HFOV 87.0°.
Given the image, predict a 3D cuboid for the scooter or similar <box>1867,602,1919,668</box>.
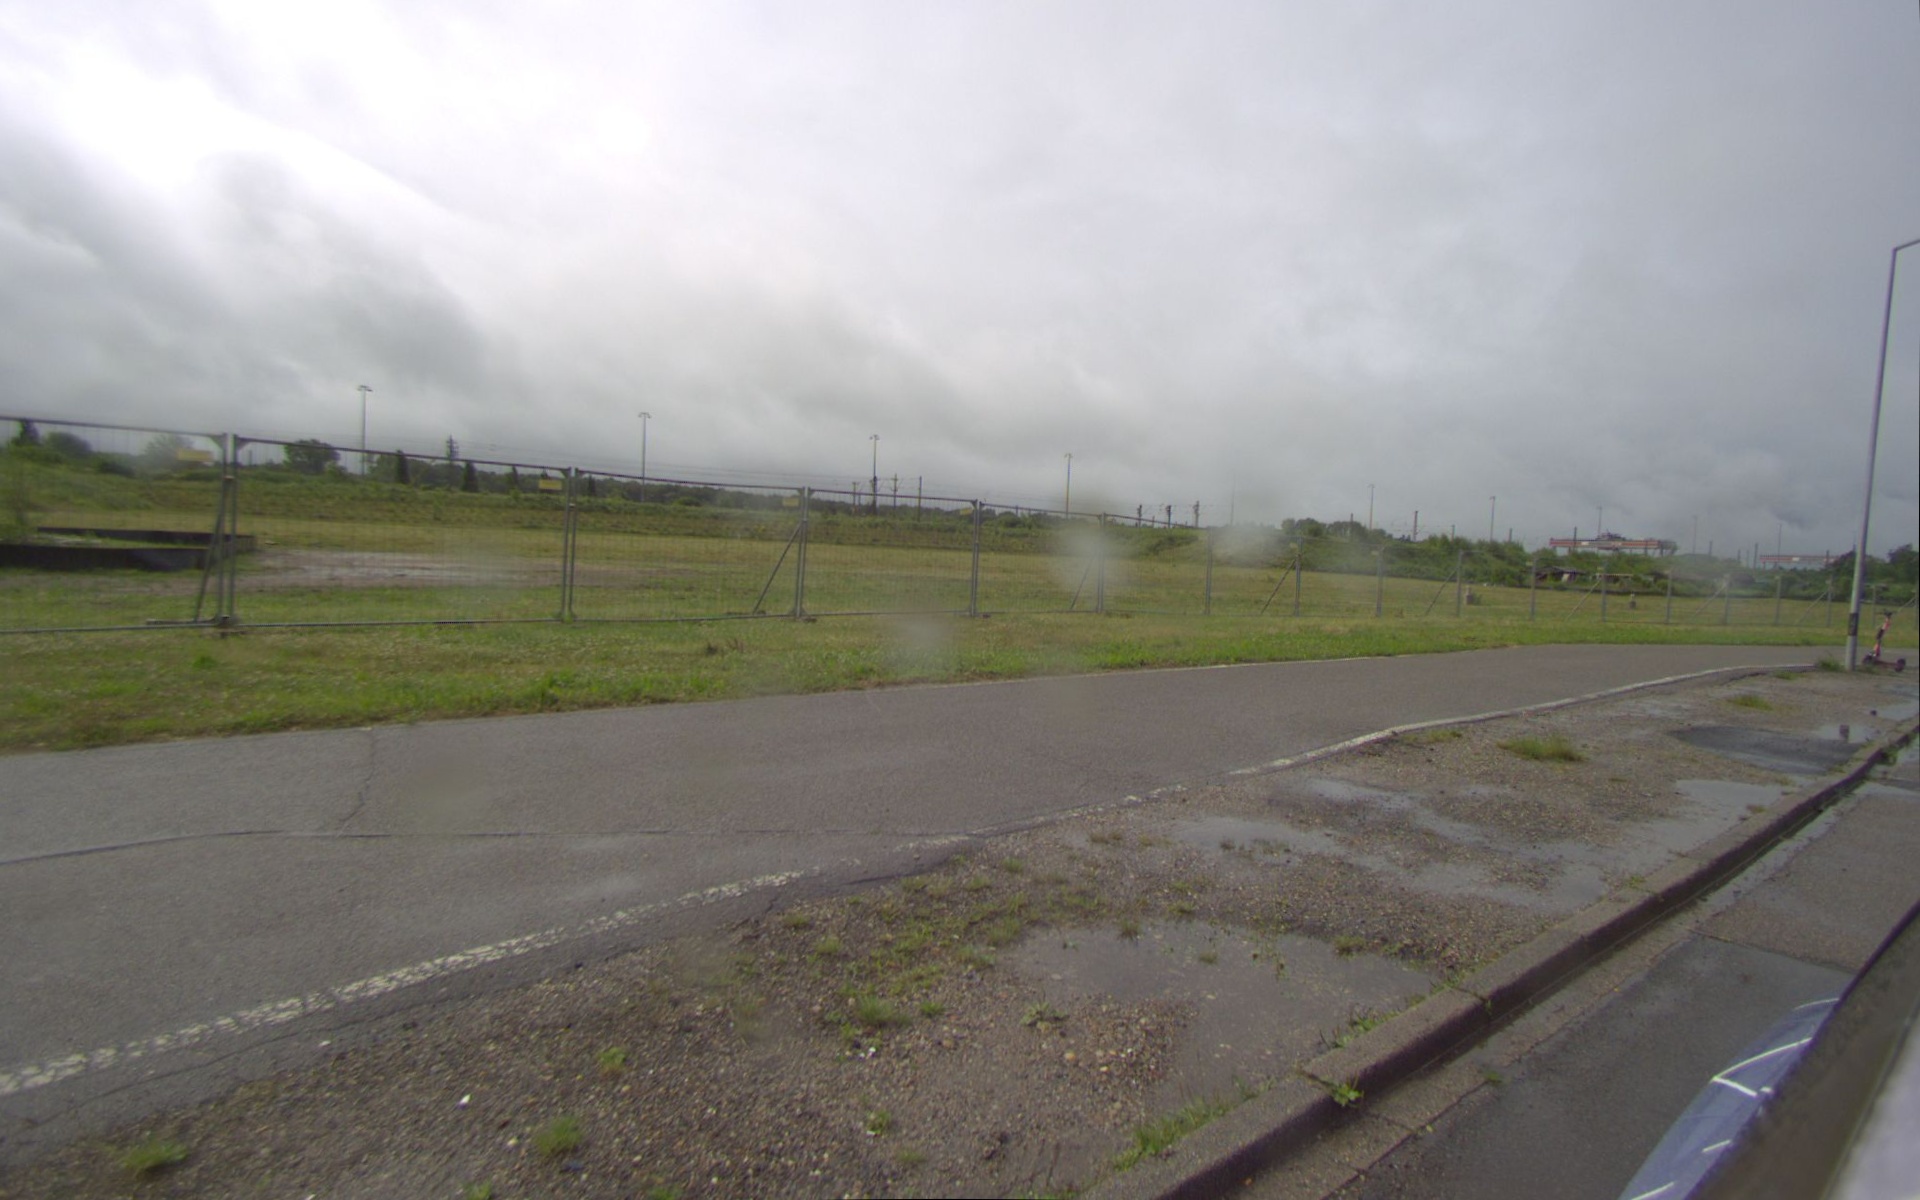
[{"bbox_3d":[18.785,0.697,20.095,1.312,1.229,0.494,2,2,-18],"label":"scooter or similar"}]
